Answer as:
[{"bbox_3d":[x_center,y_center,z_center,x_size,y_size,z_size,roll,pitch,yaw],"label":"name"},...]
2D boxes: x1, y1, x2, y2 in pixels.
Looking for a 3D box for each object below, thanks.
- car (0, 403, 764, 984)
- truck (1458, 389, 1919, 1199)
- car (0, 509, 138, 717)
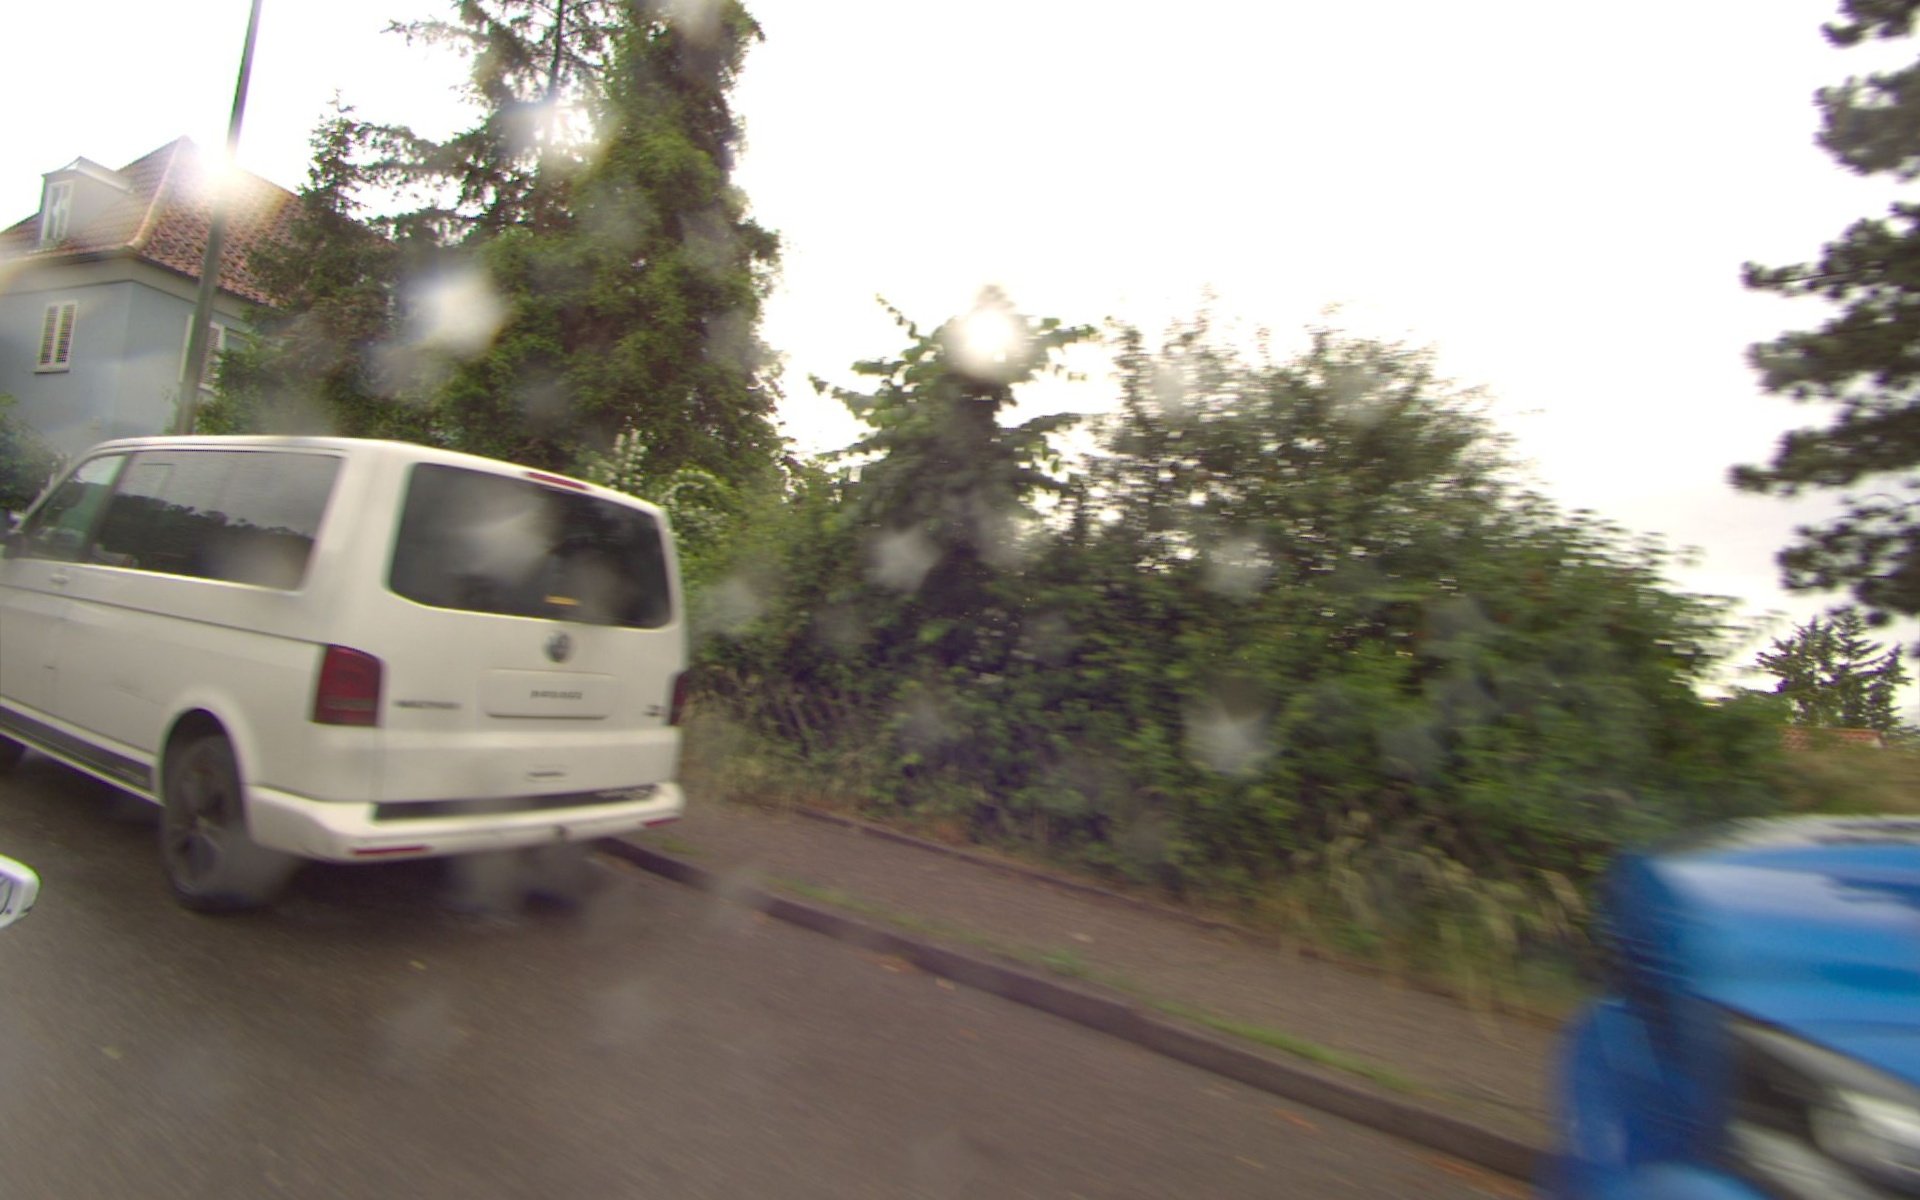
[{"bbox_3d":[-3.674,0.156,5.452,4.995,1.942,1.864,7,-2,32],"label":"car"},{"bbox_3d":[4.018,1.094,0.623,6.508,1.872,2.120,7,-3,32],"label":"truck"},{"bbox_3d":[-8.699,-0.136,7.978,3.985,1.473,1.692,7,-2,25],"label":"car"}]
